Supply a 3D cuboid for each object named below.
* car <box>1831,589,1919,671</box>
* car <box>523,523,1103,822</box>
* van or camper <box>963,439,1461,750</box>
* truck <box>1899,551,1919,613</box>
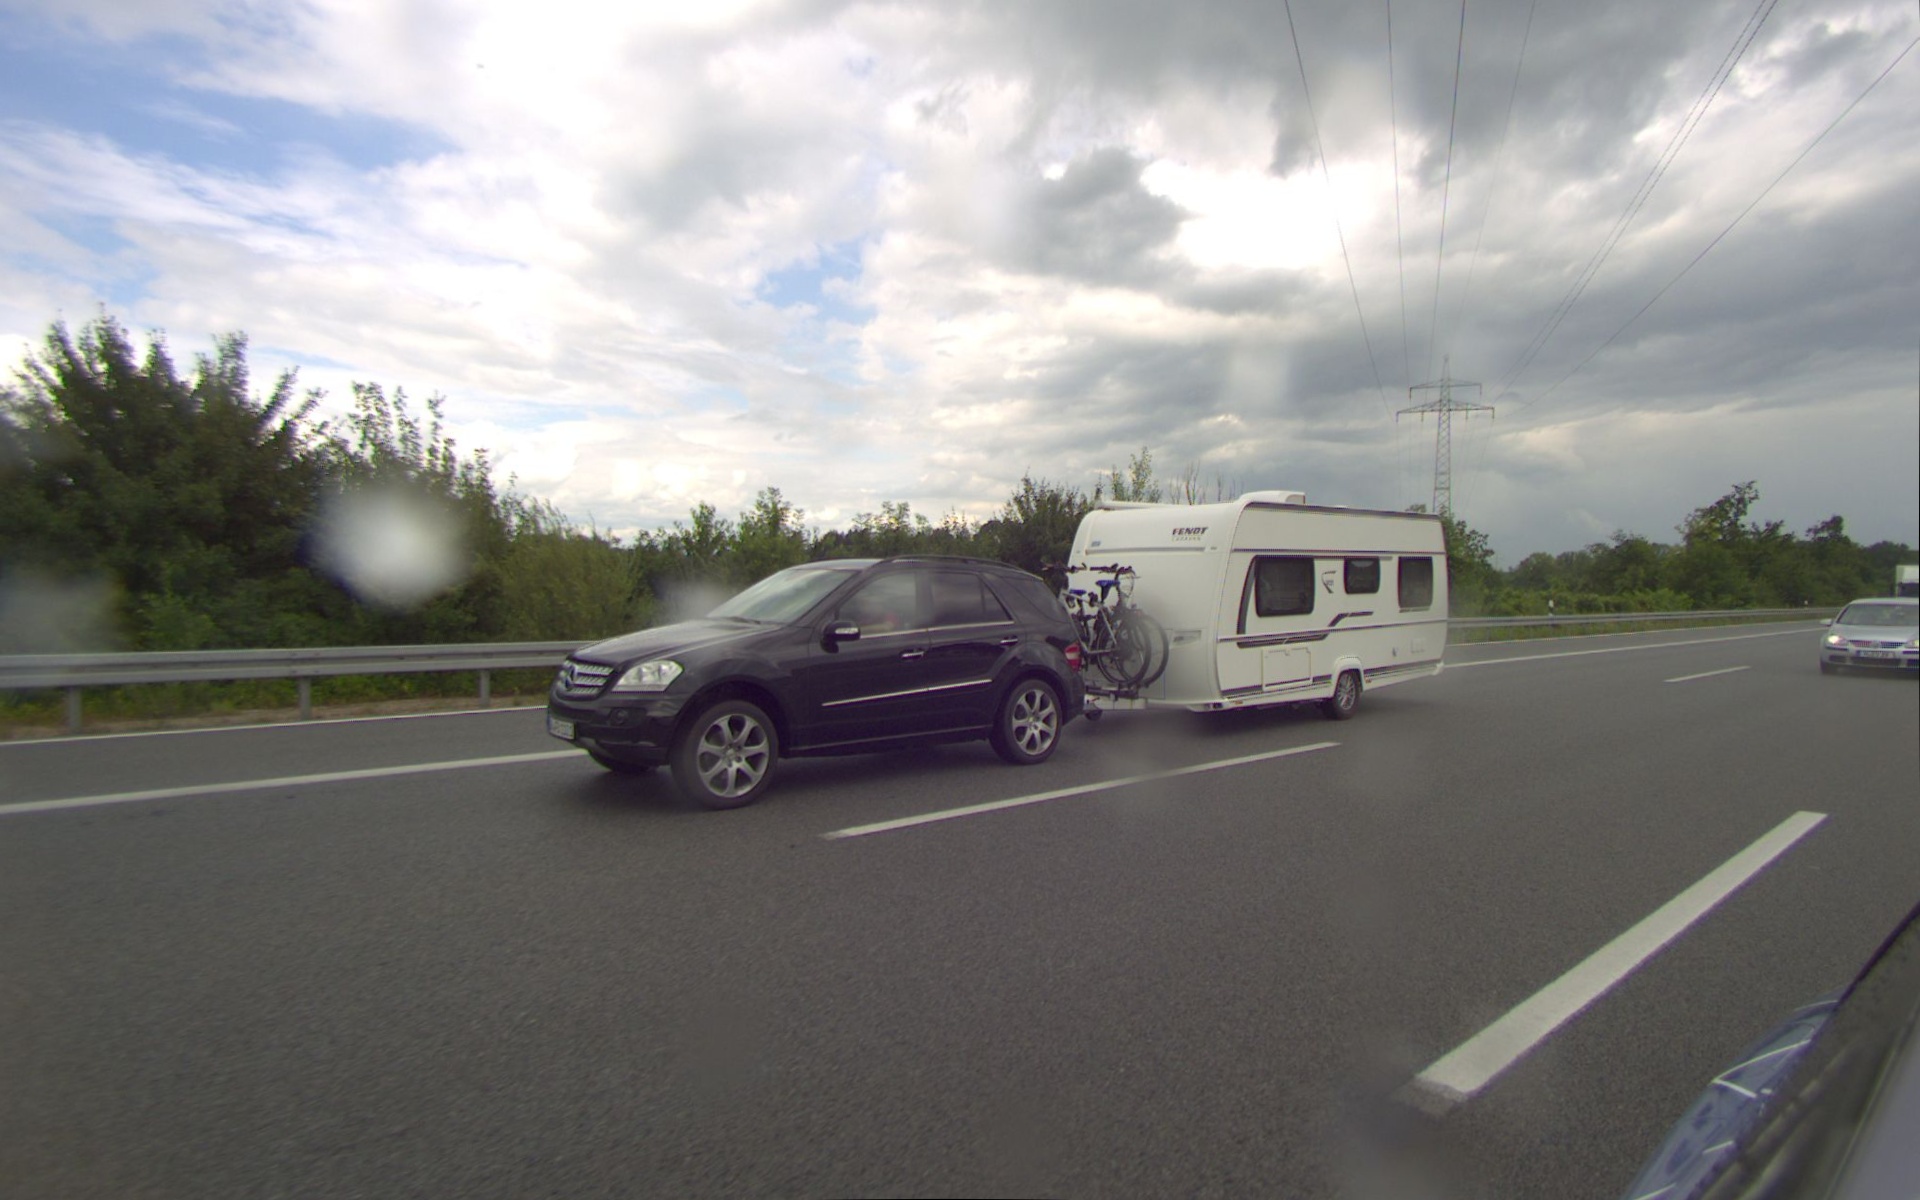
[{"bbox_3d":[18.532,0.526,19.811,3.930,1.464,1.682,0,1,-41],"label":"car"},{"bbox_3d":[-0.984,0.408,8.318,4.426,1.798,1.922,0,1,-43],"label":"car"},{"bbox_3d":[3.430,-0.080,12.301,7.086,2.773,2.387,0,0,-43],"label":"van or camper"},{"bbox_3d":[61.460,-1.113,63.332,9.426,3.700,2.868,0,0,-41],"label":"truck"}]
